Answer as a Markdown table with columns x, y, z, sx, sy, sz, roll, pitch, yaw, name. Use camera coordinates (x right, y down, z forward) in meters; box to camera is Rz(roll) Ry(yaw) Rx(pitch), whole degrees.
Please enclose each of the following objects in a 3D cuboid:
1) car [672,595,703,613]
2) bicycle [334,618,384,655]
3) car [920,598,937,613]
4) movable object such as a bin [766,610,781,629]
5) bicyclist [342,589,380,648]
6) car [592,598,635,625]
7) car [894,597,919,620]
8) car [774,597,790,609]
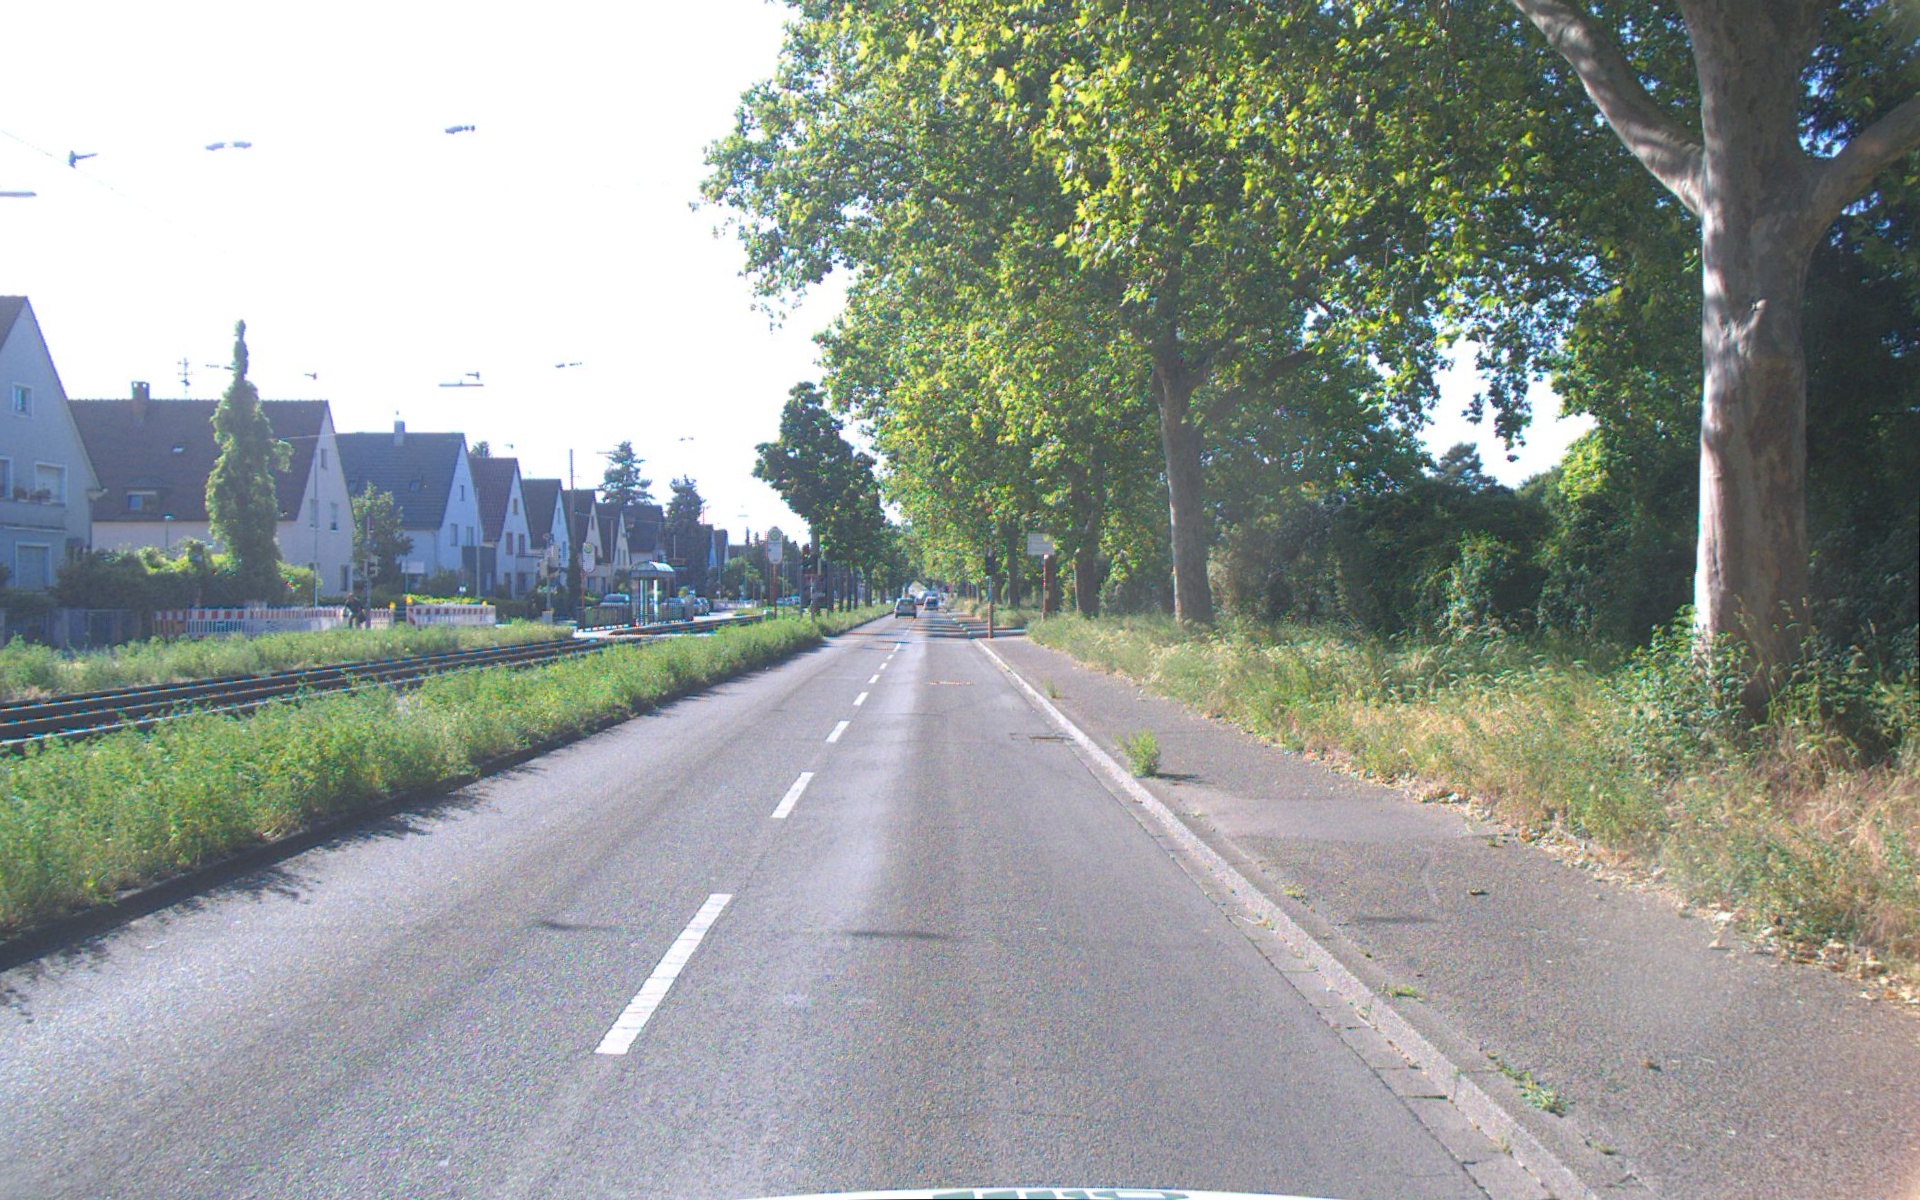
| x | y | z | sx | sy | sz | roll | pitch | yaw | name |
| --- | --- | --- | --- | --- | --- | --- | --- | --- | --- |
| -23.561 | 0.354 | 143.055 | 1.953 | 1.475 | 4.126 | 3 | 0 | -1 | car |
| -20.027 | 1.206 | 55.194 | 0.834 | 1.154 | 2.308 | 1 | 0 | -1 | bicycle |
| -3.639 | 0.618 | 192.180 | 1.953 | 1.631 | 4.472 | 1 | 0 | -1 | car |
| -6.073 | 0.639 | 53.834 | 0.378 | 0.593 | 0.379 | 1 | 0 | 7 | movable object such as a bin |
| -20.011 | 0.607 | 55.265 | 0.834 | 1.920 | 1.072 | 1 | 0 | -1 | bicyclist |
| -23.155 | 0.763 | 110.658 | 1.953 | 1.743 | 4.389 | 1 | 0 | -1 | car |
| -3.937 | 0.598 | 121.894 | 1.822 | 1.629 | 4.226 | 1 | 0 | -1 | car |
| -24.912 | 0.411 | 231.435 | 1.822 | 1.569 | 4.226 | 1 | 0 | -1 | car |
